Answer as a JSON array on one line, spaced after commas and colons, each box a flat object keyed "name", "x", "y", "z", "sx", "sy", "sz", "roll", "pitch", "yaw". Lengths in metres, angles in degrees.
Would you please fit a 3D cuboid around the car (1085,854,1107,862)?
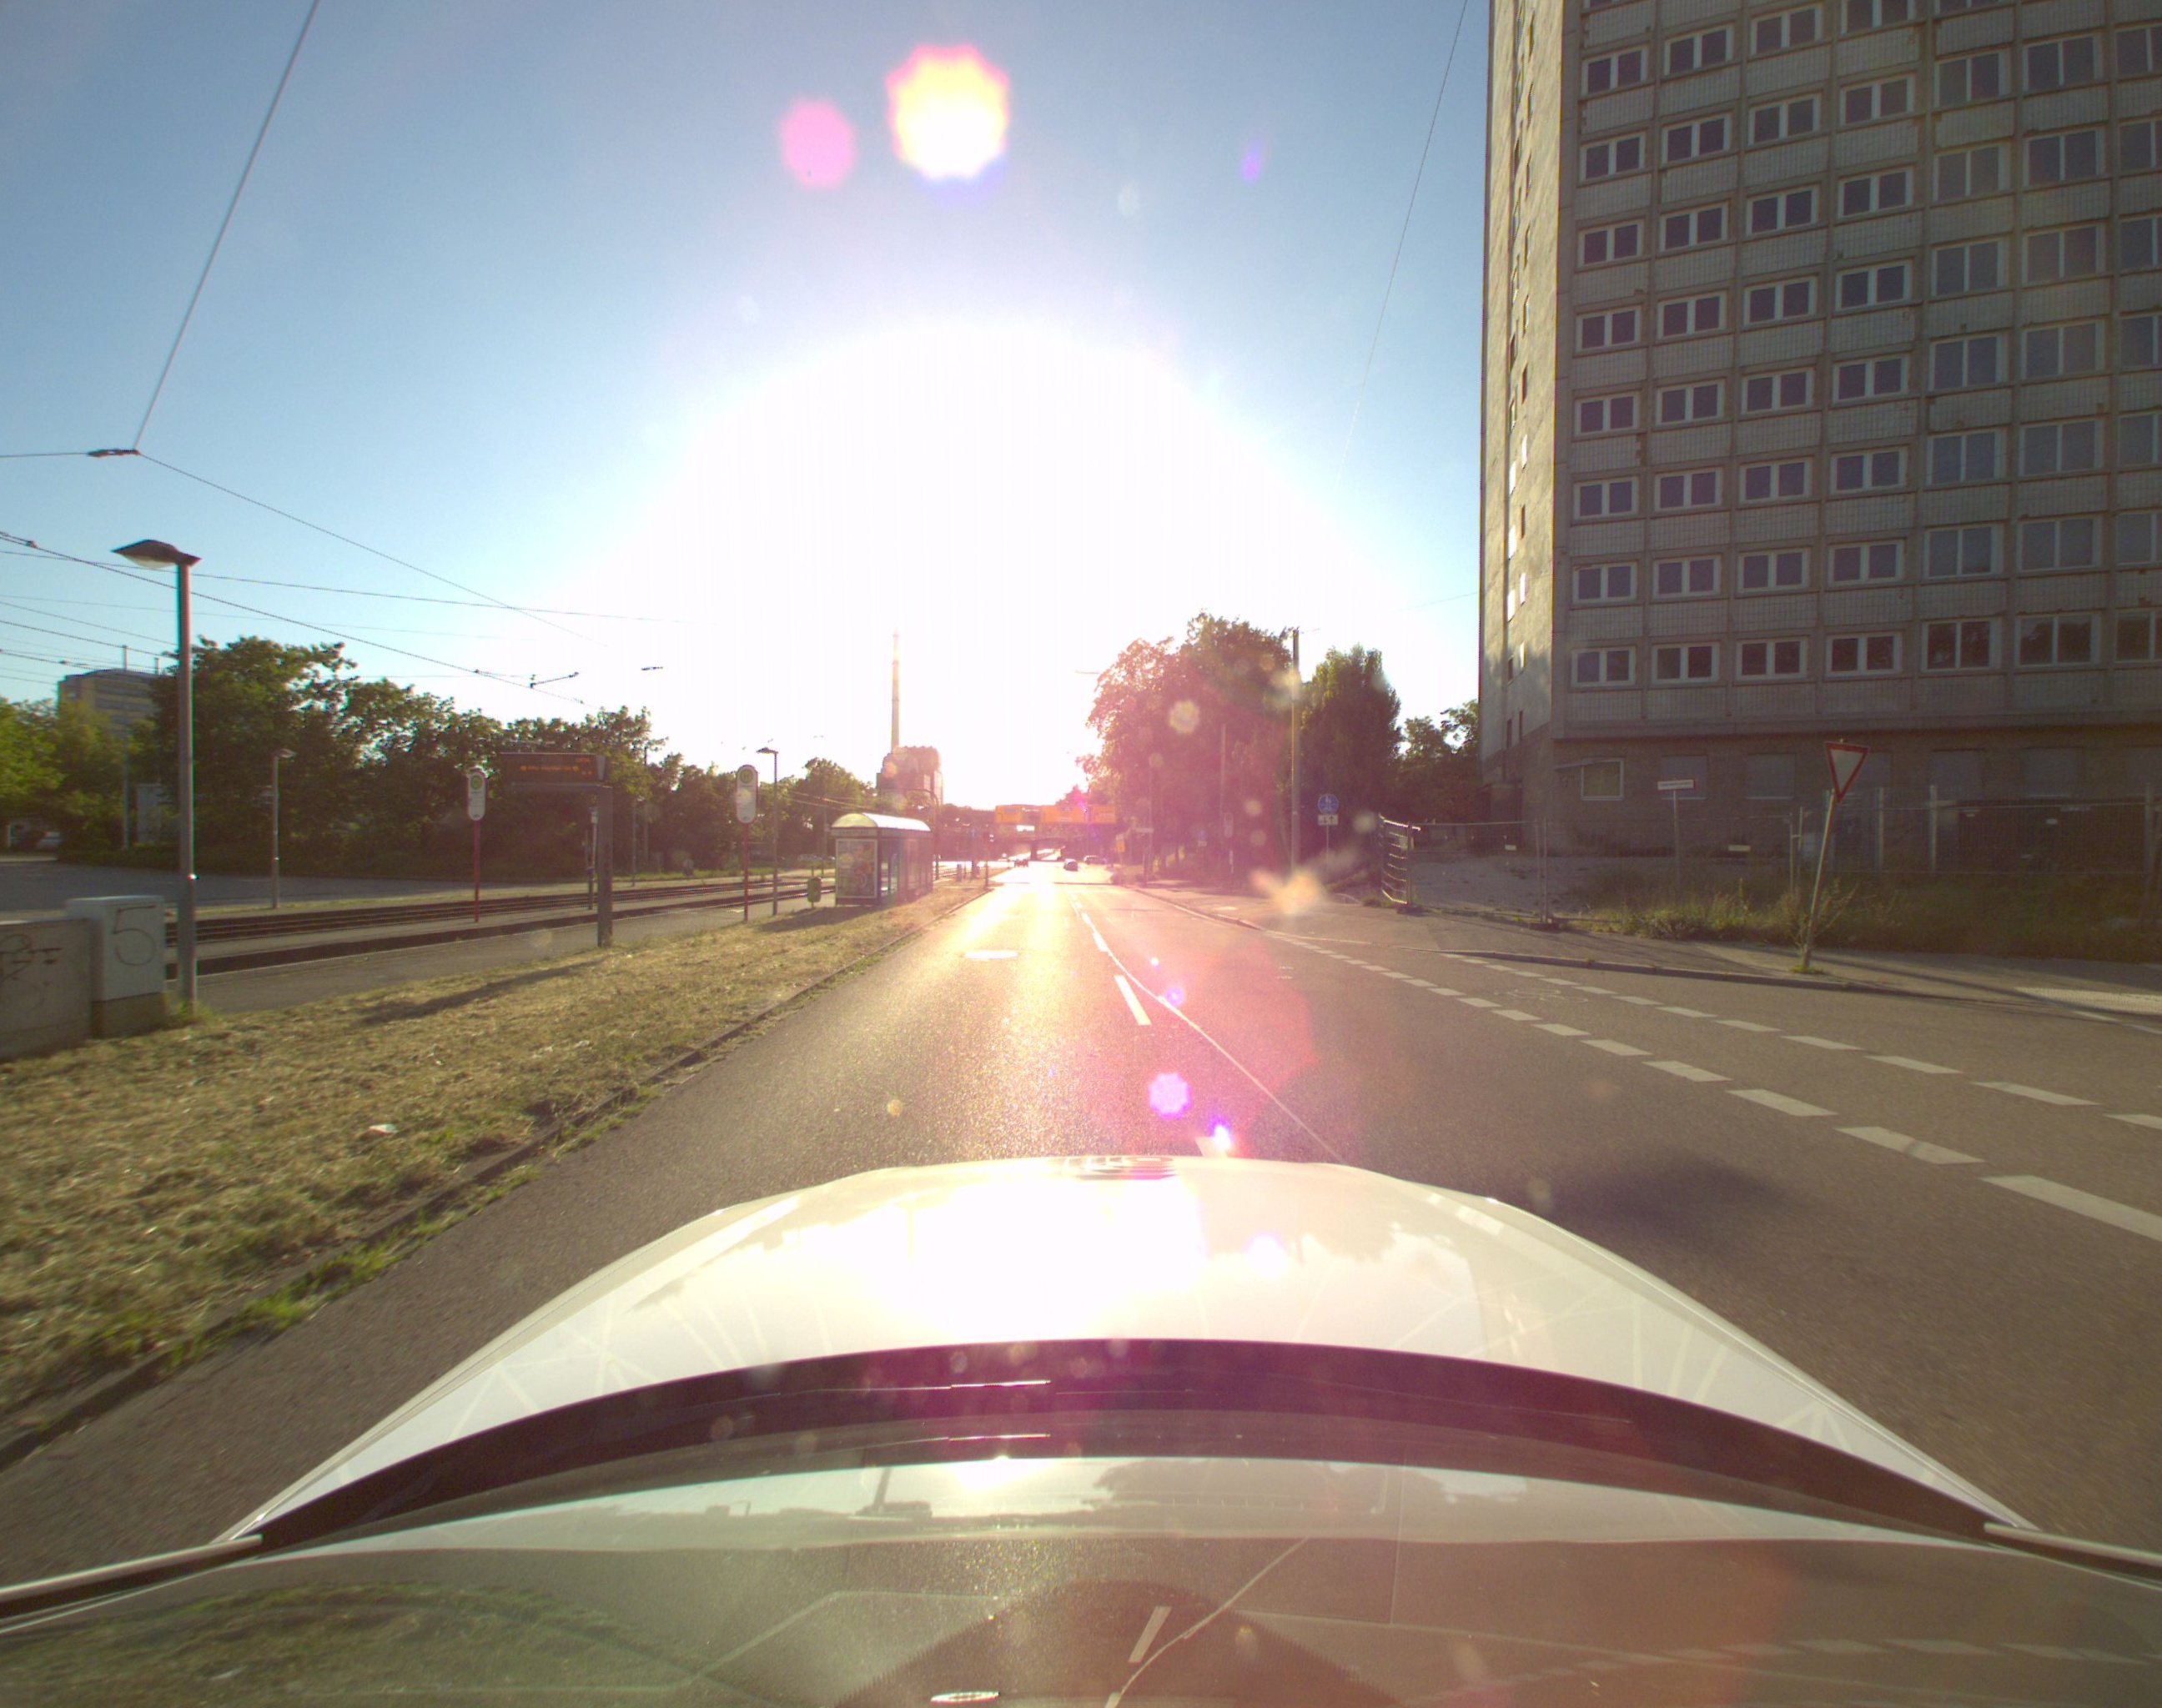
[{"name": "car", "x": 2.797, "y": 0.738, "z": 149.485, "sx": 3.976, "sy": 1.446, "sz": 1.773, "roll": -1, "pitch": 0, "yaw": -2}]

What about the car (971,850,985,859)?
[{"name": "car", "x": -21.985, "y": 0.079, "z": 173.735, "sx": 1.984, "sy": 2.013, "sz": 4.870, "roll": 0, "pitch": 0, "yaw": 6}]

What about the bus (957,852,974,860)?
[{"name": "bus", "x": -30.195, "y": 0.604, "z": 213.569, "sx": 2.574, "sy": 2.013, "sz": 12.299, "roll": 0, "pitch": 0, "yaw": 1}]

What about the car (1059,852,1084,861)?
[{"name": "car", "x": -2.051, "y": 0.526, "z": 175.885, "sx": 4.808, "sy": 2.013, "sz": 2.009, "roll": 1, "pitch": 1, "yaw": 18}]

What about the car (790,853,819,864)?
[{"name": "car", "x": -41.679, "y": 0.670, "z": 122.828, "sx": 4.008, "sy": 1.750, "sz": 1.983, "roll": 0, "pitch": 0, "yaw": -27}]

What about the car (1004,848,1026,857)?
[{"name": "car", "x": -15.066, "y": -0.396, "z": 185.722, "sx": 4.745, "sy": 2.013, "sz": 2.010, "roll": 1, "pitch": 1, "yaw": 19}]

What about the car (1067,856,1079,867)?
[{"name": "car", "x": -1.076, "y": 1.051, "z": 113.436, "sx": 1.509, "sy": 1.387, "sz": 3.364, "roll": 1, "pitch": 1, "yaw": 1}]

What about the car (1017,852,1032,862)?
[{"name": "car", "x": -8.899, "y": 0.437, "z": 129.156, "sx": 2.031, "sy": 1.446, "sz": 4.000, "roll": -1, "pitch": 0, "yaw": 0}]

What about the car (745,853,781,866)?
[{"name": "car", "x": -46.063, "y": 0.783, "z": 117.982, "sx": 4.800, "sy": 1.843, "sz": 1.983, "roll": 0, "pitch": 0, "yaw": -27}]

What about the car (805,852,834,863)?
[{"name": "car", "x": -40.721, "y": 0.544, "z": 126.903, "sx": 4.008, "sy": 1.750, "sz": 1.983, "roll": 0, "pitch": 0, "yaw": -27}]
